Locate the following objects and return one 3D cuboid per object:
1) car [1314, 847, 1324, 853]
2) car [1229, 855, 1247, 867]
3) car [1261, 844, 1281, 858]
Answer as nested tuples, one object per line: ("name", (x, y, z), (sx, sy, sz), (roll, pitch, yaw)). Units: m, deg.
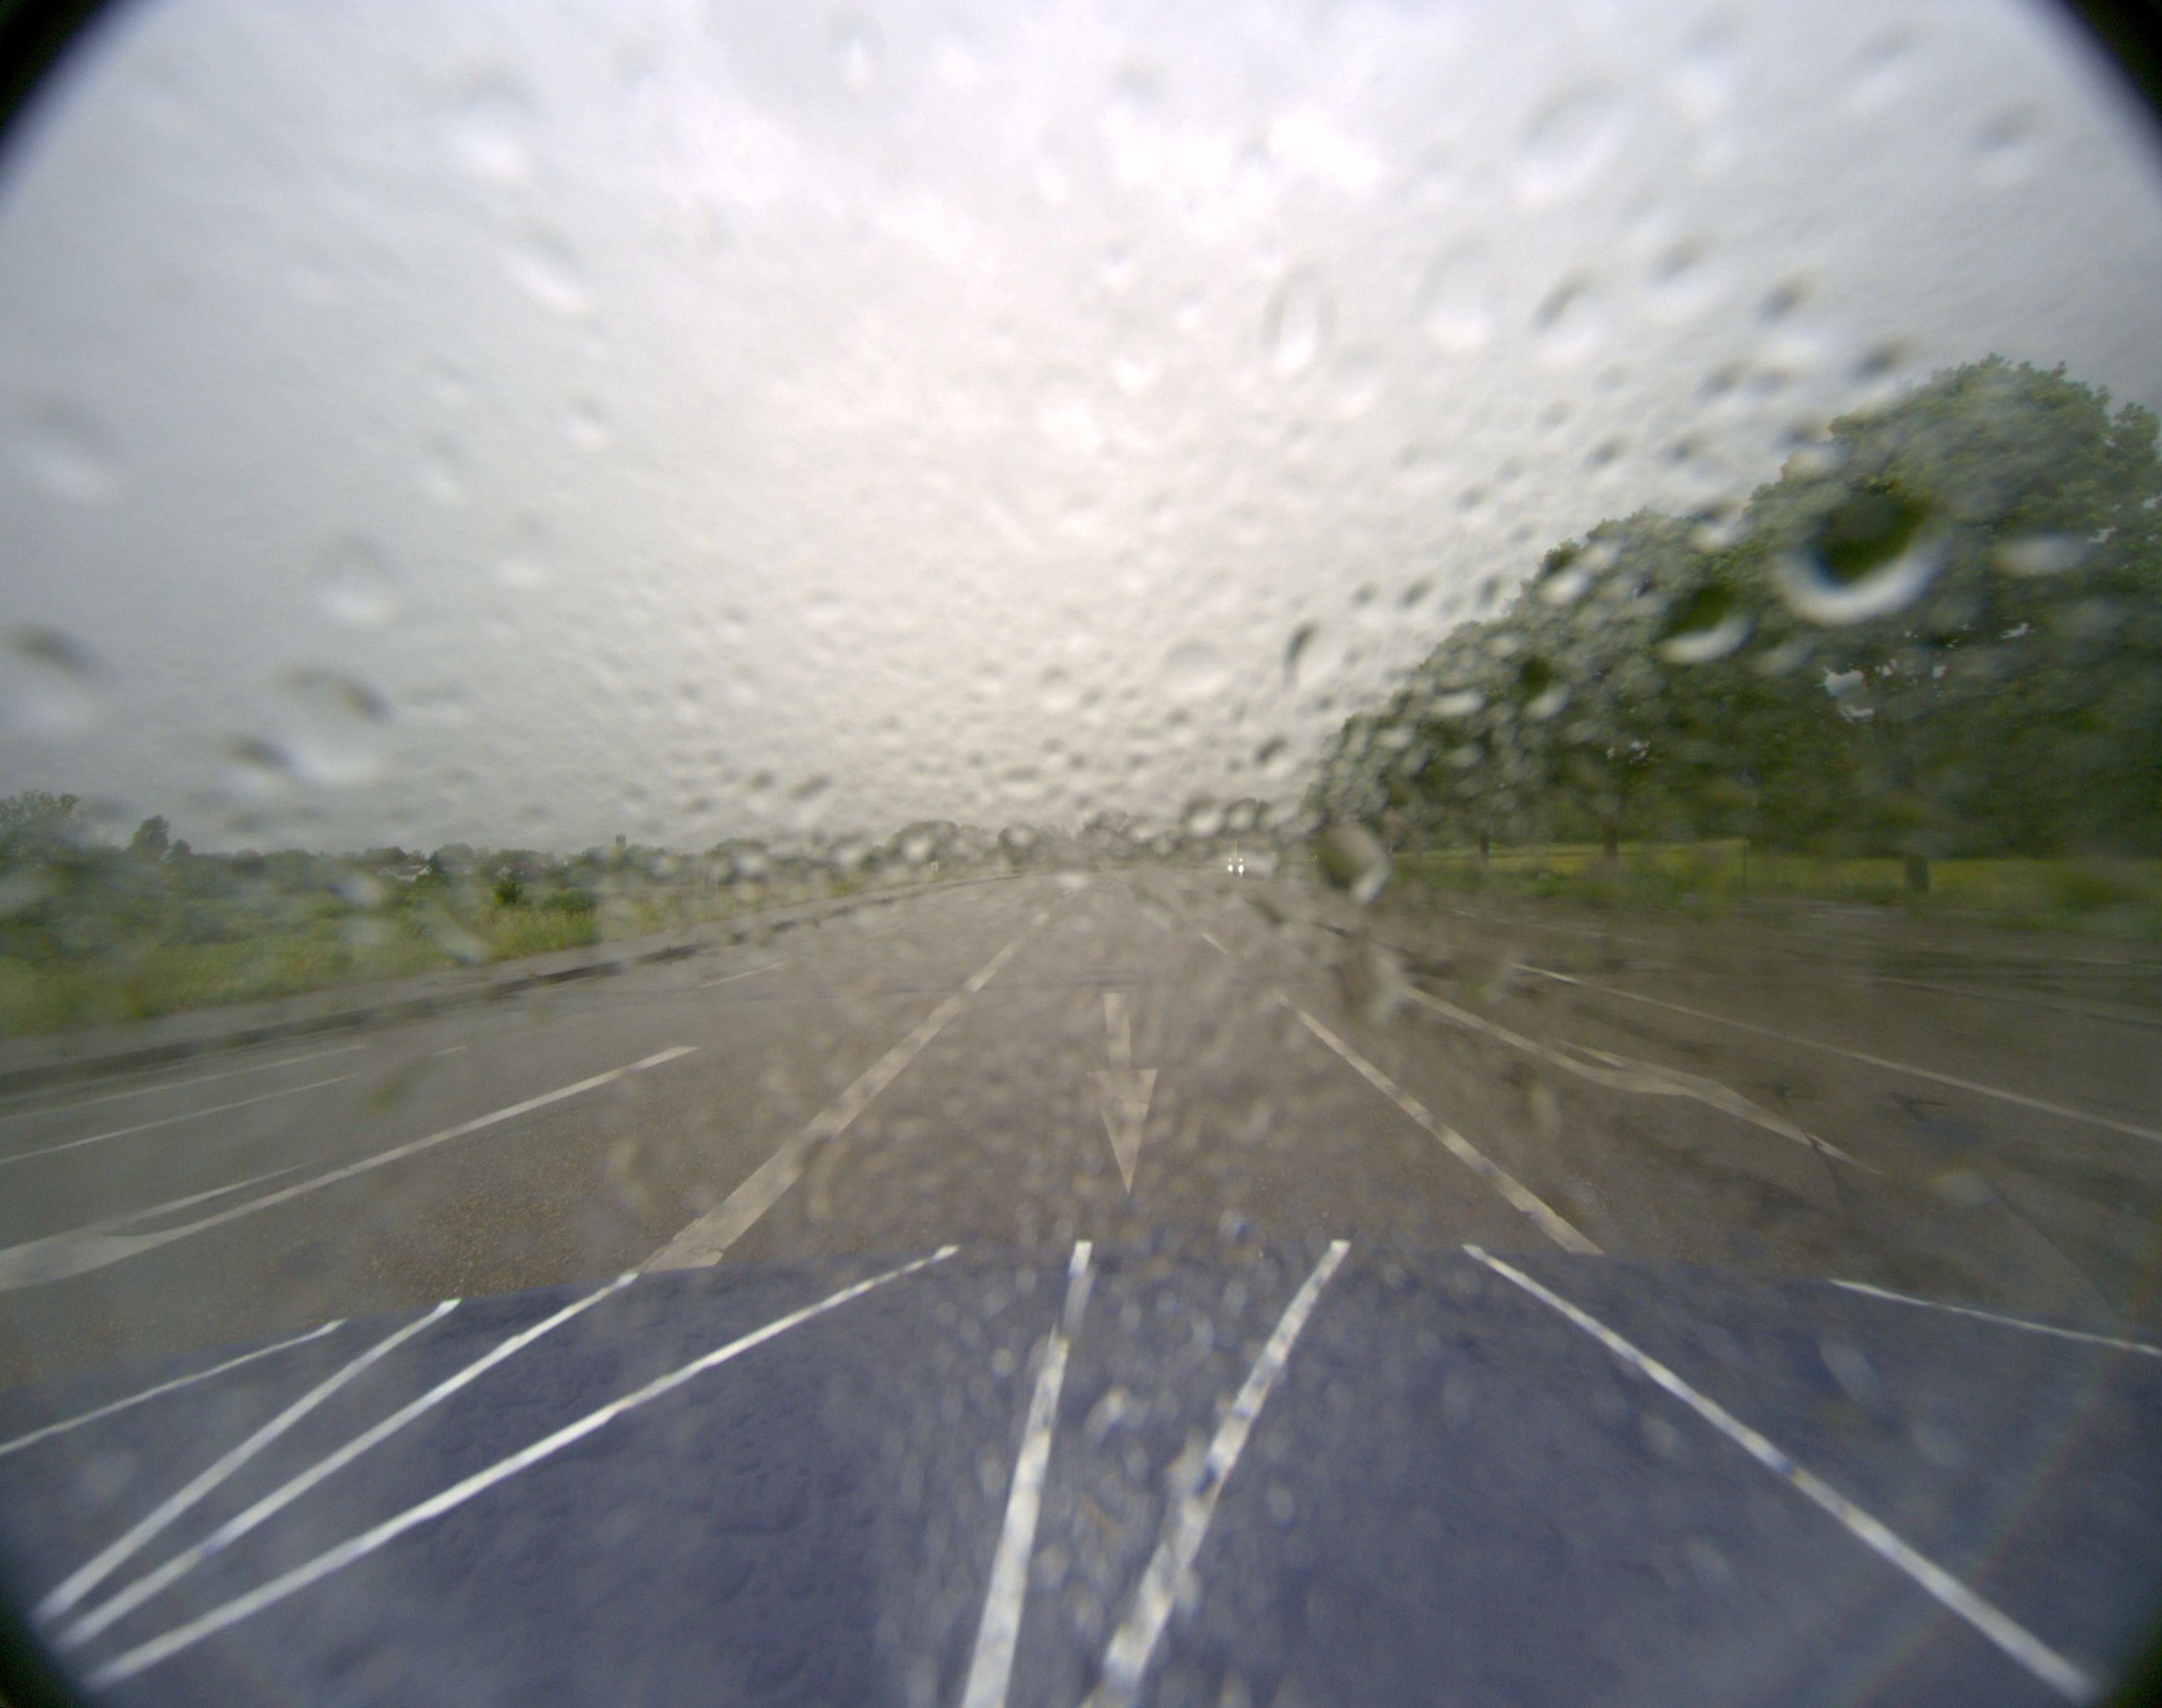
("car", (69.110, -1.082, 220.635), (1.912, 1.678, 4.110), (-1, 1, 29))
("car", (22.759, 1.002, 110.006), (1.913, 1.576, 4.109), (-1, 1, 22))
("car", (27.579, -0.410, 110.065), (2.108, 1.881, 4.798), (-1, 0, 22))
